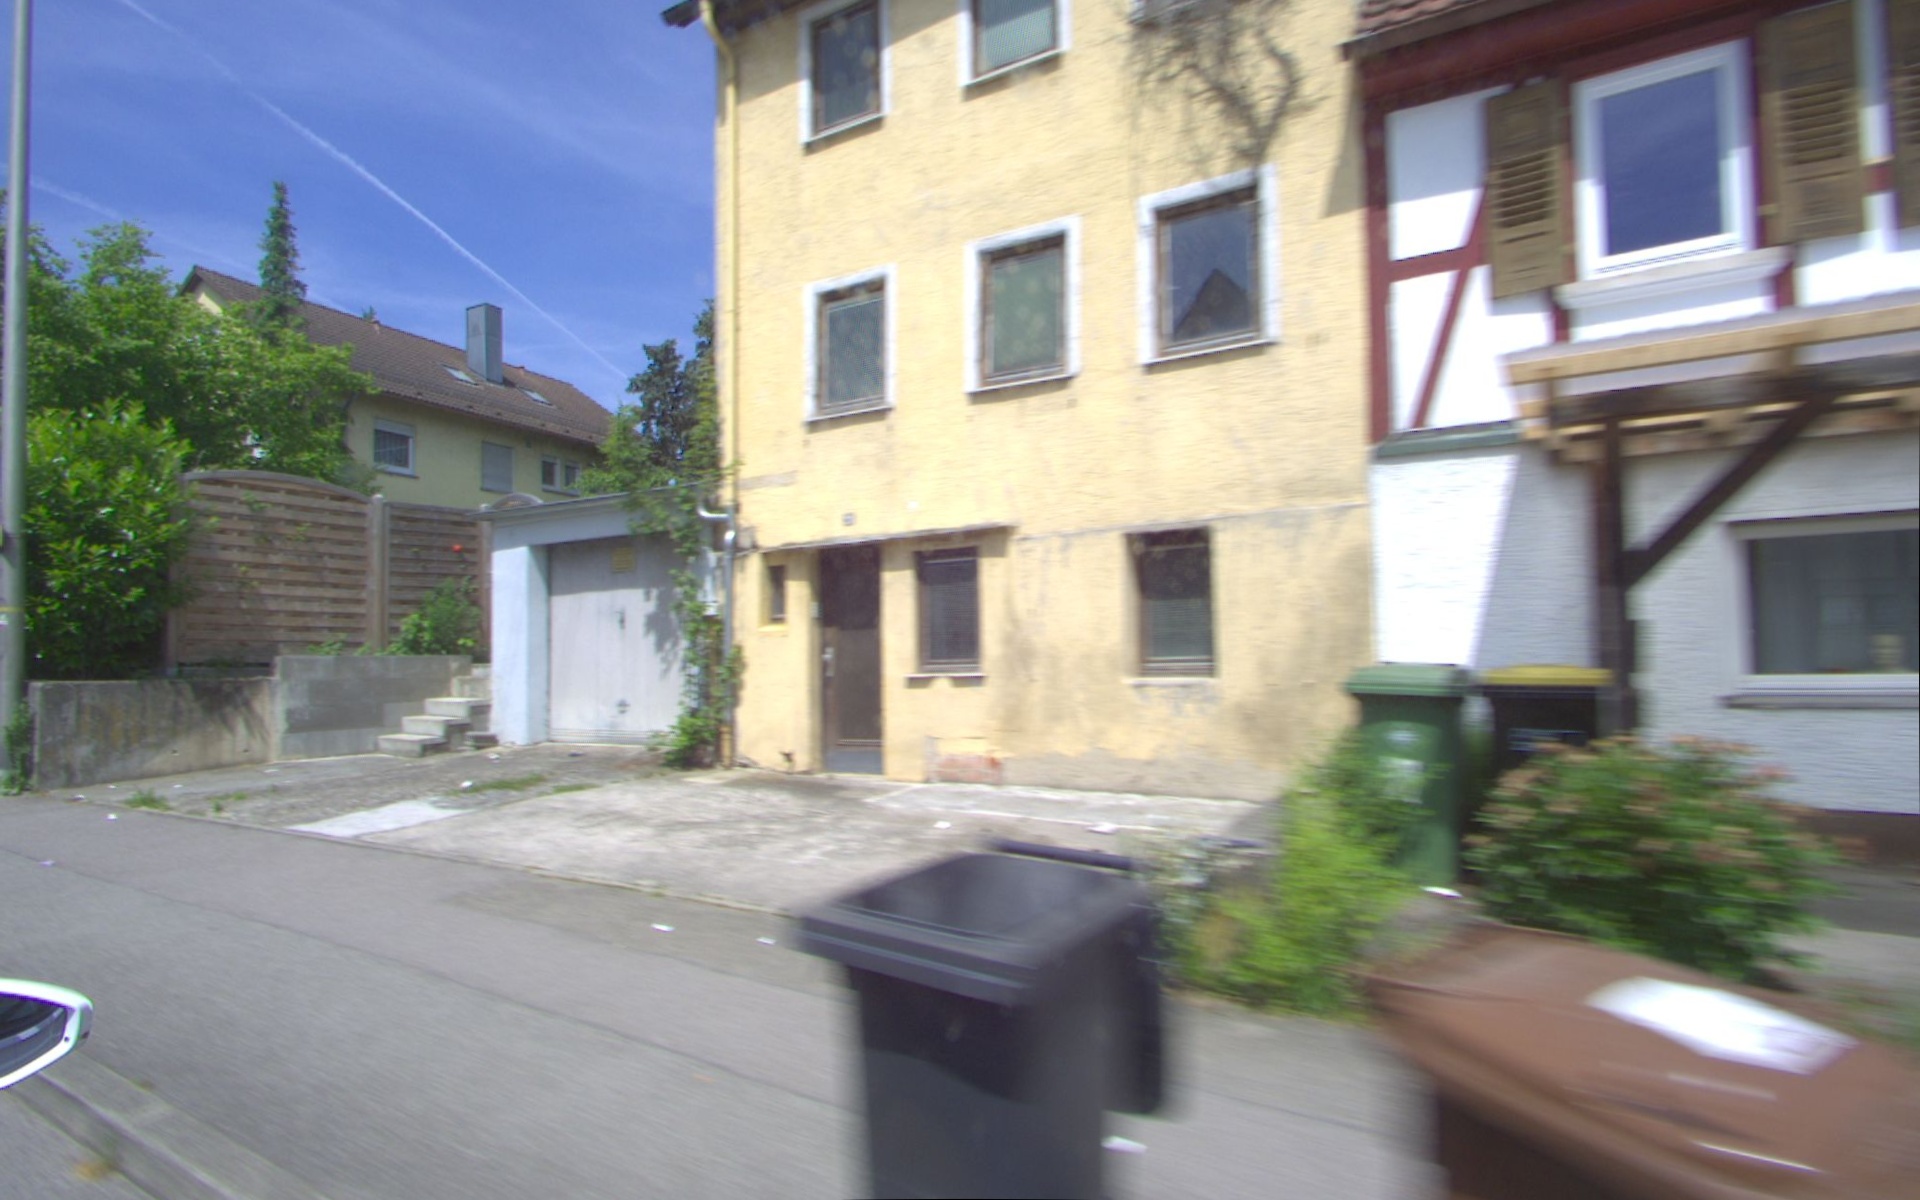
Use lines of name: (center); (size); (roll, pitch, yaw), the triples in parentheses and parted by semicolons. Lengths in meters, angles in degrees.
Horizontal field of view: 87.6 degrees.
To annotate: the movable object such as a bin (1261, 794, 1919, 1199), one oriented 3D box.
movable object such as a bin: (0.725, 0.816, 1.123); (0.489, 1.048, 0.544); (-3, 2, -35)
